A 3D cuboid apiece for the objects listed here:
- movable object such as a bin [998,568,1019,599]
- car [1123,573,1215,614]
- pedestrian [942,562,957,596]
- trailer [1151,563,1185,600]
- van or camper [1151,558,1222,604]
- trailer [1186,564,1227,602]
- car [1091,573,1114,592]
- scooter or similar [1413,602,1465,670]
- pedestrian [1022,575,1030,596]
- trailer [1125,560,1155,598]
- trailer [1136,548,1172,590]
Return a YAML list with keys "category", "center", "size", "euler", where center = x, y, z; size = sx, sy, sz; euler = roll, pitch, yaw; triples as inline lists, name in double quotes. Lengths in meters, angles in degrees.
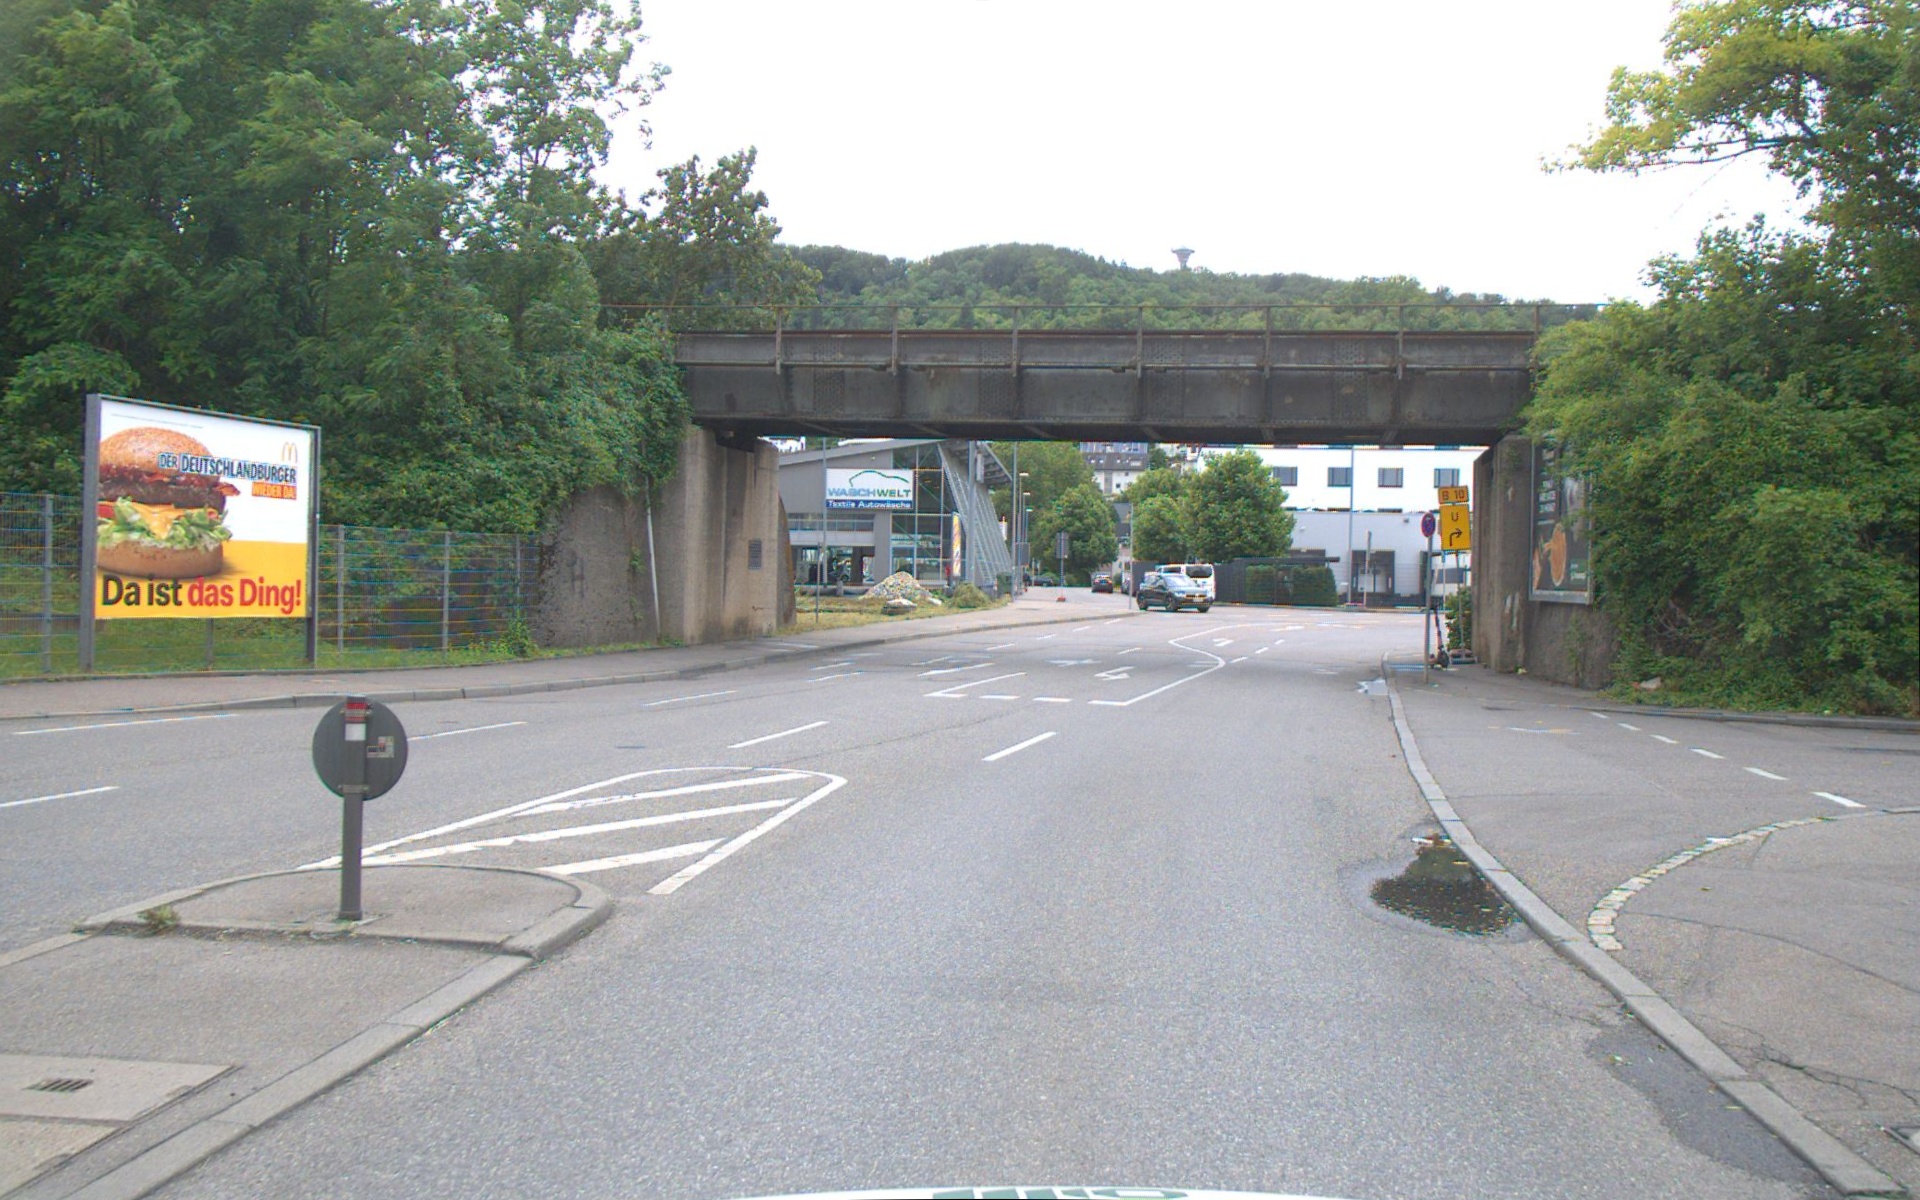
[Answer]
- category: "movable object such as a bin"
  center: [2.817, -0.938, 96.574]
  size: [1.118, 1.787, 1.060]
  euler: [1, 0, 6]
- category: "car"
  center: [9.028, -0.301, 71.791]
  size: [1.968, 1.713, 4.337]
  euler: [1, 0, -25]
- category: "pedestrian"
  center: [-0.598, -1.208, 94.212]
  size: [0.810, 1.900, 0.717]
  euler: [0, 1, -8]
- category: "trailer"
  center: [13.959, -1.279, 111.281]
  size: [1.952, 2.384, 4.002]
  euler: [2, 1, 4]
- category: "van or camper"
  center: [11.021, -0.927, 80.718]
  size: [2.063, 2.119, 4.191]
  euler: [1, 0, -13]
- category: "trailer"
  center: [13.925, -1.006, 93.570]
  size: [1.952, 2.048, 4.002]
  euler: [2, 1, 4]
- category: "car"
  center: [13.270, -1.586, 153.898]
  size: [1.951, 1.713, 4.003]
  euler: [1, 0, 6]
- category: "scooter or similar"
  center: [9.294, 0.690, 32.139]
  size: [0.493, 1.257, 1.670]
  euler: [-3, 0, 1]
- category: "pedestrian"
  center: [5.558, -1.233, 139.122]
  size: [0.614, 1.702, 0.758]
  euler: [1, 0, 0]
- category: "trailer"
  center: [14.530, -1.723, 133.681]
  size: [2.231, 3.004, 4.002]
  euler: [2, 1, 4]
- category: "trailer"
  center: [18.214, -2.945, 155.582]
  size: [3.004, 3.824, 4.937]
  euler: [2, 1, 4]
